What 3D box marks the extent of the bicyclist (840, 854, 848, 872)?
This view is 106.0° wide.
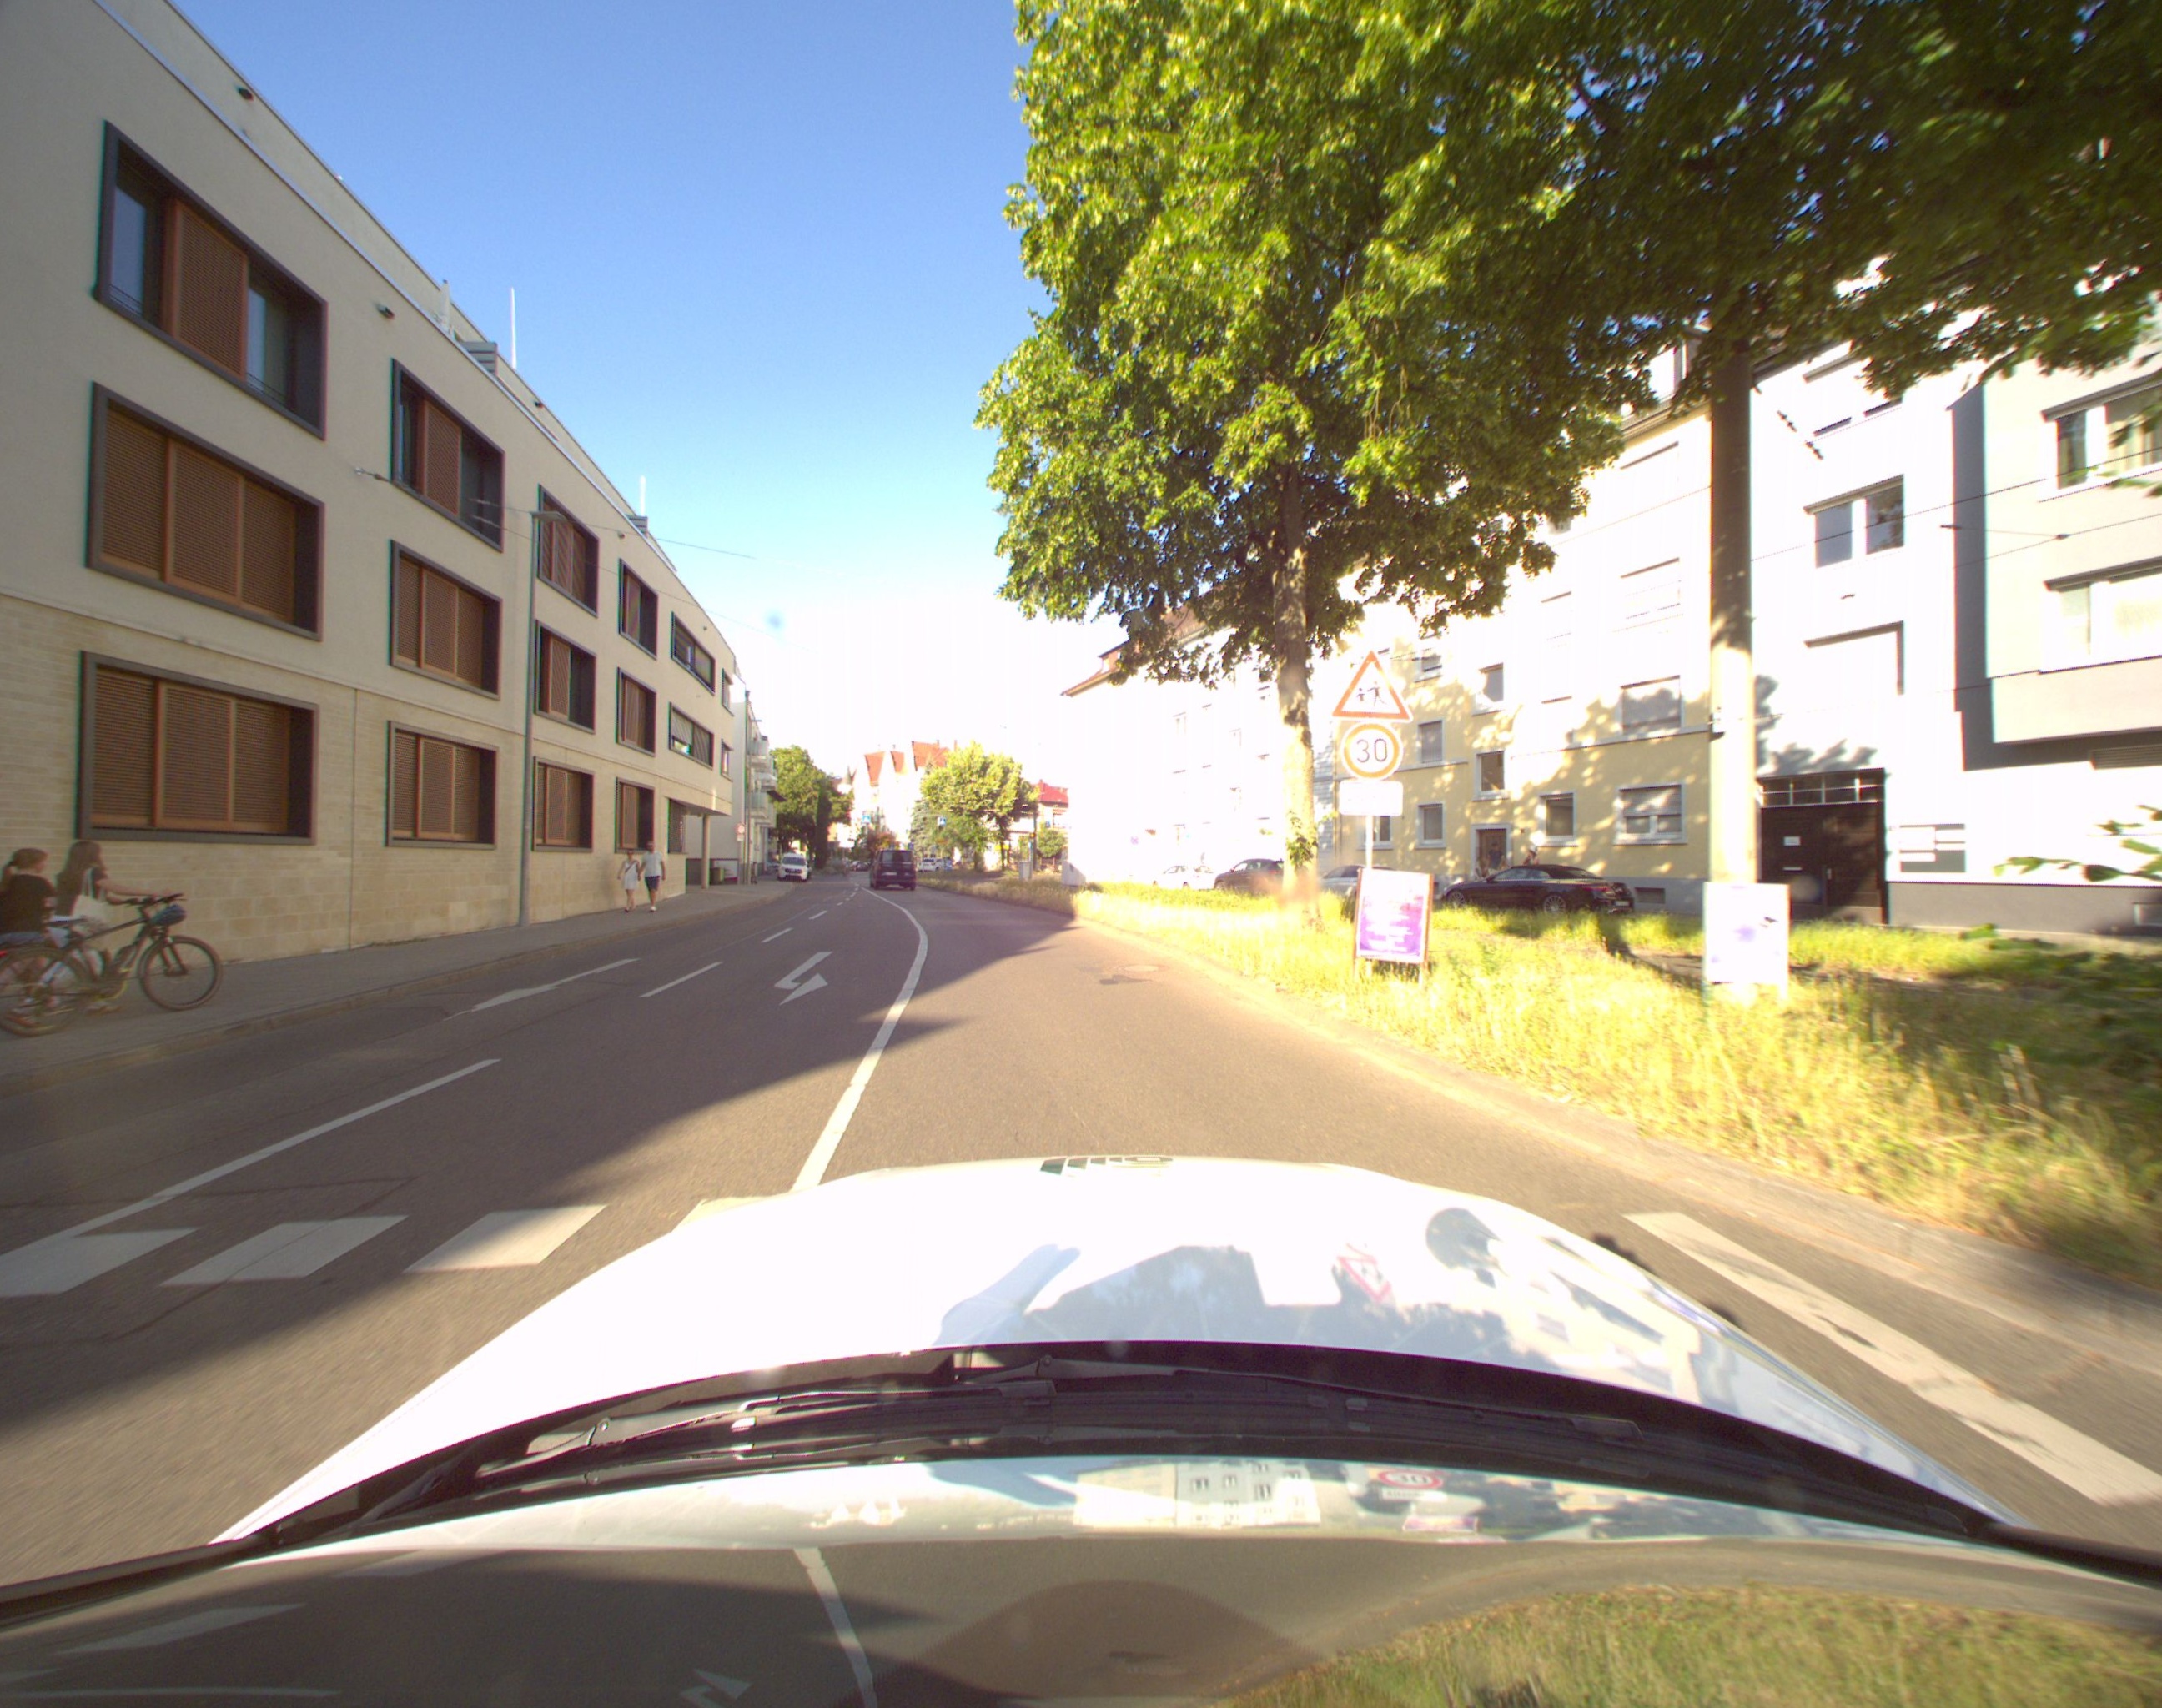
[{"bbox_3d":[-18.768,0.702,64.440,0.624,1.380,0.796,-1,-1,-18],"label":"bicyclist"}]

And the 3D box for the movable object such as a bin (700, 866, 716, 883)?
[{"bbox_3d":[-19.288,1.055,42.083,0.545,0.901,0.531,1,-1,4],"label":"movable object such as a bin"}]

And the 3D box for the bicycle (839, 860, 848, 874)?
[{"bbox_3d":[-18.749,1.051,64.386,0.624,1.081,1.772,-1,-1,-18],"label":"bicycle"}]

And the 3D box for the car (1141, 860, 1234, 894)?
[{"bbox_3d":[4.748,1.006,37.067,2.005,1.386,4.405,-1,1,-29],"label":"car"}]

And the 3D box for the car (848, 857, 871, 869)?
[{"bbox_3d":[-29.555,1.180,108.570,2.005,1.596,3.963,1,-1,-29],"label":"car"}]

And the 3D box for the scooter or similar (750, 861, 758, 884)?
[{"bbox_3d":[-17.717,0.987,44.134,0.406,1.175,0.940,0,1,-22],"label":"scooter or similar"}]

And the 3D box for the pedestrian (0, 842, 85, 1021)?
[{"bbox_3d":[-9.671,0.675,7.395,0.472,1.565,0.602,1,0,0],"label":"pedestrian"}]

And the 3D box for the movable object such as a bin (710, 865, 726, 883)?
[{"bbox_3d":[-18.723,1.025,42.044,0.545,0.901,0.531,1,-1,4],"label":"movable object such as a bin"}]

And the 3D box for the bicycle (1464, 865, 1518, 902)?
[{"bbox_3d":[13.079,0.920,25.987,0.537,1.131,1.503,0,-1,-26],"label":"bicycle"}]

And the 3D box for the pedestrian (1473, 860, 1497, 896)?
[{"bbox_3d":[12.142,0.703,24.474,0.433,1.065,0.457,0,-1,-25],"label":"pedestrian"}]

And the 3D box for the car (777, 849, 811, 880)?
[{"bbox_3d":[-18.350,0.688,51.942,1.817,1.870,4.301,3,-2,-21],"label":"car"}]

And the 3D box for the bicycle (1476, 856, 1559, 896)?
[{"bbox_3d":[12.991,0.647,24.319,0.537,1.131,2.288,0,-1,-26],"label":"bicycle"}]

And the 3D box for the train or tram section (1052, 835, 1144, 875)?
[{"bbox_3d":[1.797,0.132,77.293,2.749,3.555,9.978,0,-1,44],"label":"train or tram section"}]

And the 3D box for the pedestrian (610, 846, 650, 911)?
[{"bbox_3d":[-12.214,0.660,22.085,0.703,1.714,0.839,1,-1,-12],"label":"pedestrian"}]

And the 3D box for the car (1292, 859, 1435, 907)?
[{"bbox_3d":[9.284,0.895,27.184,2.004,1.386,4.408,-1,1,-26],"label":"car"}]

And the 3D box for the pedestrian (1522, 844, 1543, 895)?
[{"bbox_3d":[13.590,0.468,24.493,0.306,1.515,0.438,-1,0,-33],"label":"pedestrian"}]

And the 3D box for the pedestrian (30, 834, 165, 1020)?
[{"bbox_3d":[-9.110,0.652,7.566,0.472,1.647,0.602,1,0,0],"label":"pedestrian"}]

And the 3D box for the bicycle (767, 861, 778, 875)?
[{"bbox_3d":[-25.657,1.162,67.678,0.580,1.109,1.854,1,-1,-28],"label":"bicycle"}]

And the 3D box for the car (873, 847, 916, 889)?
[{"bbox_3d":[-9.336,0.666,40.749,1.996,2.013,3.982,1,0,-13],"label":"car"}]

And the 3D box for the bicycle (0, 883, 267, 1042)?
[{"bbox_3d":[-8.701,0.909,7.517,0.439,1.178,1.965,1,1,-2],"label":"bicycle"}]

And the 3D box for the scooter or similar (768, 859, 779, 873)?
[{"bbox_3d":[-26.994,1.074,71.416,0.512,1.229,1.524,2,-1,-35],"label":"scooter or similar"}]

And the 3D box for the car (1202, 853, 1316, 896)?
[{"bbox_3d":[6.938,0.785,32.332,2.004,1.572,4.601,-1,-1,-26],"label":"car"}]

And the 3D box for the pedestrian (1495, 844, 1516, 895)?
[{"bbox_3d":[12.775,0.472,24.530,0.334,1.515,0.439,-1,0,-30],"label":"pedestrian"}]

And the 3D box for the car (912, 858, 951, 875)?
[{"bbox_3d":[-13.502,1.118,73.860,1.943,1.505,3.702,-1,0,18],"label":"car"}]

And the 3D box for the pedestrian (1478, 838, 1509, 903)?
[{"bbox_3d":[13.138,0.518,25.924,0.615,2.014,0.644,0,-1,-26],"label":"pedestrian"}]

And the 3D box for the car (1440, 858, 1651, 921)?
[{"bbox_3d":[11.807,0.822,21.049,2.004,1.386,4.408,-1,1,-26],"label":"car"}]

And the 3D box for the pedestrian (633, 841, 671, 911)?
[{"bbox_3d":[-11.679,0.599,22.200,0.606,1.849,0.988,1,-1,-12],"label":"pedestrian"}]

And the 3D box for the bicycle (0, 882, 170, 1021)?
[{"bbox_3d":[-9.643,0.875,7.498,0.374,1.167,1.838,1,0,2],"label":"bicycle"}]
